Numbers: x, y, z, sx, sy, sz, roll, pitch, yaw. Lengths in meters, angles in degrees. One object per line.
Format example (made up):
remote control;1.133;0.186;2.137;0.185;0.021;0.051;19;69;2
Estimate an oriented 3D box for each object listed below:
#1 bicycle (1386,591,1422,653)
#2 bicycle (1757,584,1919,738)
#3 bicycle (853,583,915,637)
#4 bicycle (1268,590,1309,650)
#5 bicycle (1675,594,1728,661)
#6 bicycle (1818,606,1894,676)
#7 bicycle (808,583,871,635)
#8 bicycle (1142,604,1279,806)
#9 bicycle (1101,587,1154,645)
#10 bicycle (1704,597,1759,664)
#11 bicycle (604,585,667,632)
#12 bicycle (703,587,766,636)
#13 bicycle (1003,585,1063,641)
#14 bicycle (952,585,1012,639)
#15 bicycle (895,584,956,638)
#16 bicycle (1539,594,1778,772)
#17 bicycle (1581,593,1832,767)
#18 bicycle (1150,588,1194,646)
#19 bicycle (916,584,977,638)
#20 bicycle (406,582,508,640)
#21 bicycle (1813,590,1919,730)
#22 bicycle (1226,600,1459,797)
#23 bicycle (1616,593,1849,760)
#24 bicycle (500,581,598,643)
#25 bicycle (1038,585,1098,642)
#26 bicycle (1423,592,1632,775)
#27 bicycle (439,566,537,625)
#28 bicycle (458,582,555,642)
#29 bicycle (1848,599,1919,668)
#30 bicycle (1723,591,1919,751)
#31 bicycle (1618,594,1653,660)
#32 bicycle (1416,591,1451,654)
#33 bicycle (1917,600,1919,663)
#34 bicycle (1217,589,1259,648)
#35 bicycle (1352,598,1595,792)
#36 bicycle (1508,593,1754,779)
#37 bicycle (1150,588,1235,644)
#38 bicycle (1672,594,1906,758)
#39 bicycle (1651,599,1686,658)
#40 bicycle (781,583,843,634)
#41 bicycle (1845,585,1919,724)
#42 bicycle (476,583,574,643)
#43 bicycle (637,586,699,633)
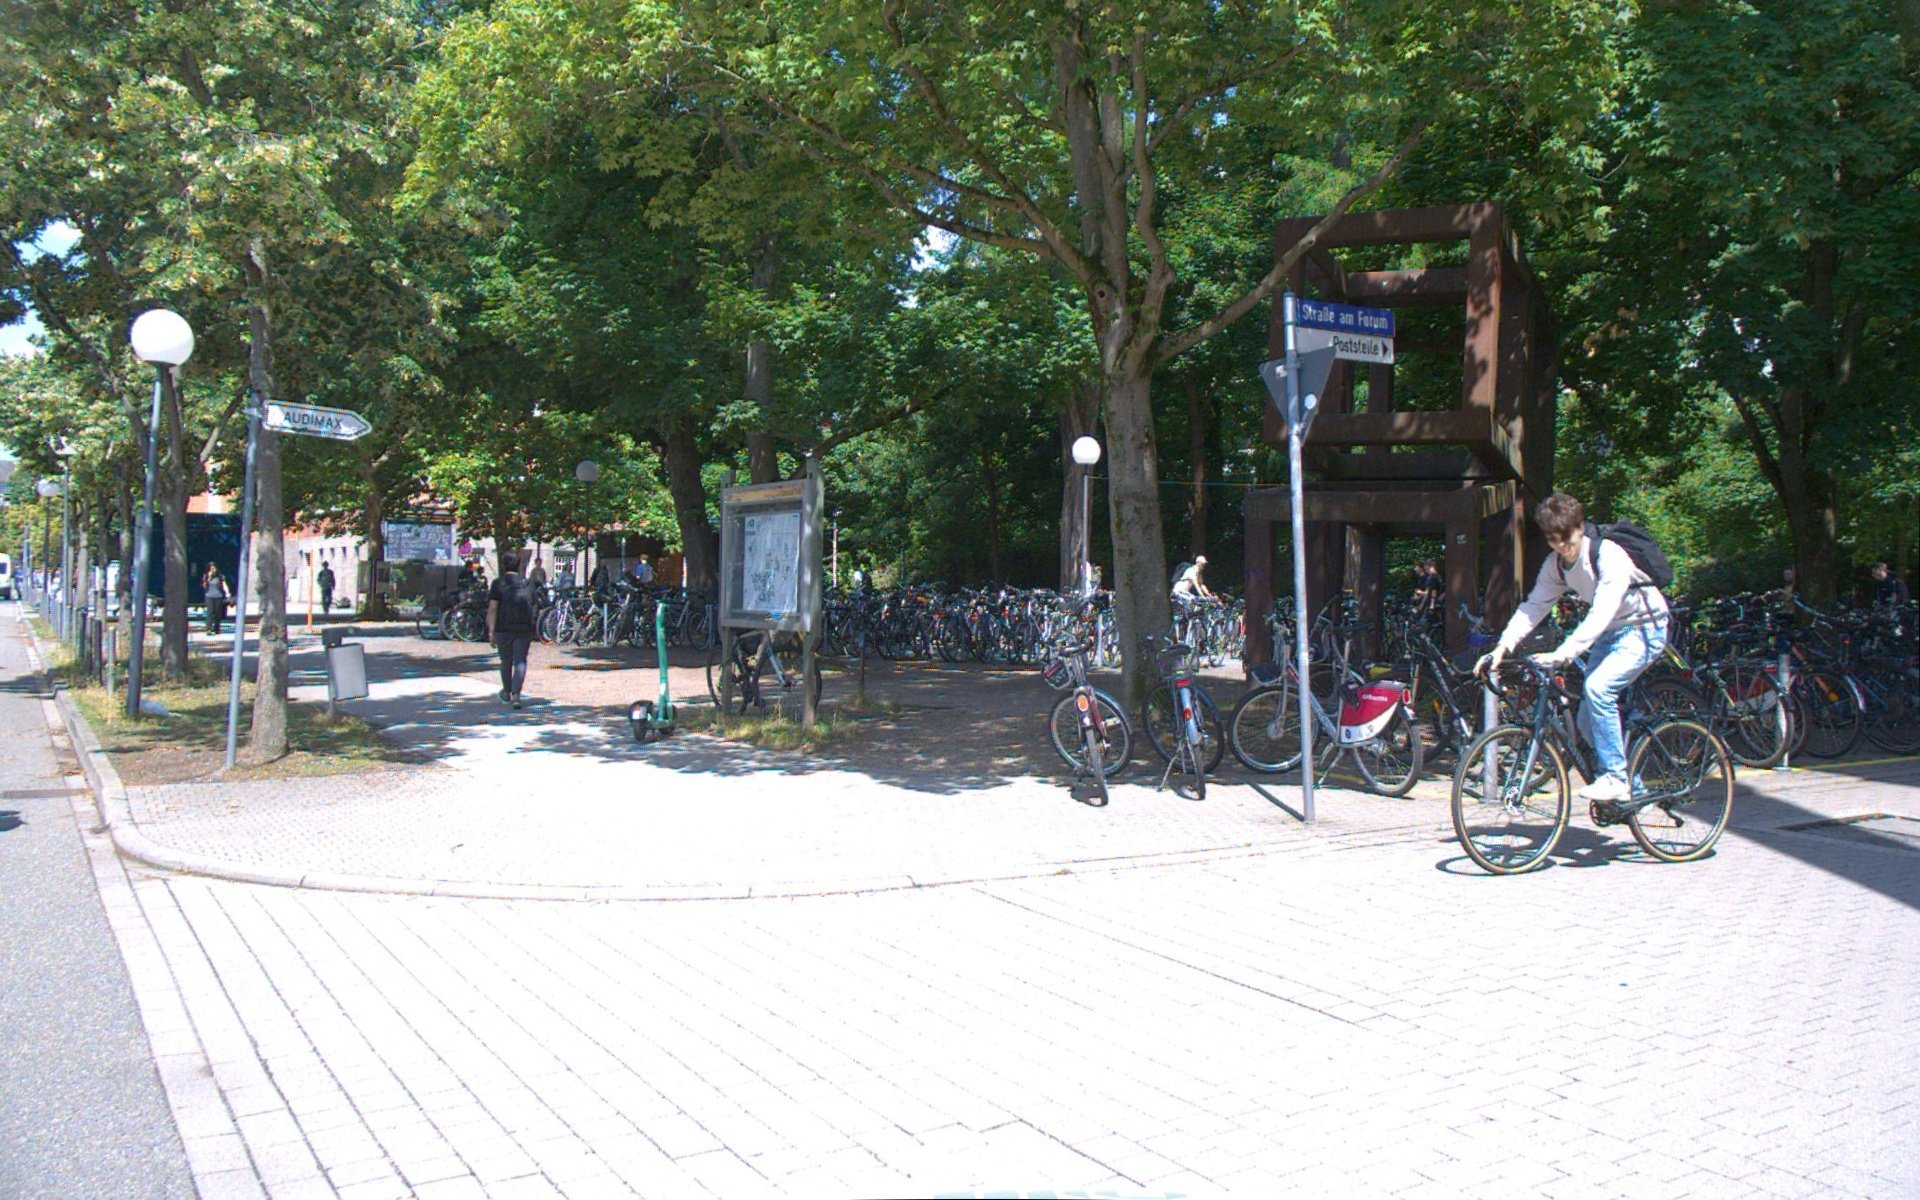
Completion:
bicycle;8.190;0.390;30.467;0.463;1.102;1.700;2;1;20
bicycle;7.429;0.481;13.542;0.490;1.170;1.614;1;1;-30
bicycle;-1.625;0.208;35.523;0.464;1.102;1.696;2;1;30
bicycle;6.257;0.361;31.474;0.463;1.102;1.700;2;1;20
bicycle;12.906;0.462;28.815;0.462;1.102;1.701;2;1;12
bicycle;15.247;0.676;28.183;0.462;1.102;1.701;2;1;5
bicycle;-2.626;0.190;36.205;0.464;1.102;1.696;2;1;30
bicycle;1.569;0.619;10.592;0.576;1.127;1.746;-1;1;-1
bicycle;3.339;0.301;32.808;0.463;1.102;1.698;2;1;26
bicycle;13.420;0.509;28.790;0.462;1.102;1.701;2;1;12
bicycle;-7.861;0.204;40.104;0.464;1.102;1.696;2;1;30
bicycle;-5.157;0.256;37.861;0.464;1.102;1.696;2;1;30
bicycle;1.503;0.264;33.911;0.464;1.102;1.696;2;1;30
bicycle;0.470;0.244;34.557;0.464;1.102;1.696;2;1;30
bicycle;-0.718;0.228;35.240;0.464;1.102;1.696;2;1;30
bicycle;4.880;0.545;11.668;0.489;1.127;1.617;1;1;-25
bicycle;5.353;0.540;11.959;0.619;1.127;1.616;1;1;-26
bicycle;4.172;0.317;32.424;0.463;1.102;1.700;2;1;20
bicycle;-0.272;0.226;34.889;0.464;1.102;1.696;2;1;30
bicycle;-10.166;0.218;33.521;0.493;1.127;2.019;2;1;40
bicycle;8.125;0.512;13.850;0.637;1.127;1.610;1;1;-35
bicycle;2.409;0.583;10.585;0.490;1.127;1.613;-1;2;-30
bicycle;5.747;0.534;12.403;0.498;1.127;1.617;1;1;-25
bicycle;-7.825;0.223;31.598;0.492;1.127;2.025;2;1;32
bicycle;2.181;0.271;33.253;0.464;1.102;1.696;2;1;30
bicycle;3.859;0.530;11.371;0.488;1.127;1.621;-1;1;-18
bicycle;-9.320;-0.083;32.736;0.492;1.127;2.025;2;1;32
bicycle;-8.889;0.233;32.471;0.492;1.127;2.025;2;1;32
bicycle;15.773;0.557;28.167;0.462;1.102;1.701;2;1;5
bicycle;6.892;0.521;12.921;0.680;1.127;1.617;1;1;-25
bicycle;11.853;0.464;29.038;0.463;1.102;1.700;2;1;20
bicycle;8.686;0.397;30.330;0.463;1.102;1.700;2;1;20
bicycle;16.810;0.566;27.870;0.462;1.102;1.701;2;1;5
bicycle;5.378;0.343;31.914;0.463;1.102;1.700;2;1;20
bicycle;3.310;0.572;10.786;0.490;1.127;1.613;-1;2;-30
bicycle;4.499;0.542;11.201;0.489;1.127;1.617;1;1;-25
bicycle;4.863;0.325;34.617;1.668;1.102;0.601;3;1;39
bicycle;6.265;0.543;12.585;0.489;1.127;1.617;1;1;-25
bicycle;12.323;0.484;28.805;0.441;0.978;1.740;2;1;20
bicycle;-3.287;0.180;36.780;0.464;1.102;1.696;2;1;30
bicycle;8.637;0.488;14.218;0.491;1.182;1.763;1;1;-35
bicycle;-8.400;0.244;32.043;0.492;1.127;2.025;2;1;32
bicycle;-6.984;0.225;39.638;0.464;1.102;1.696;2;1;30
